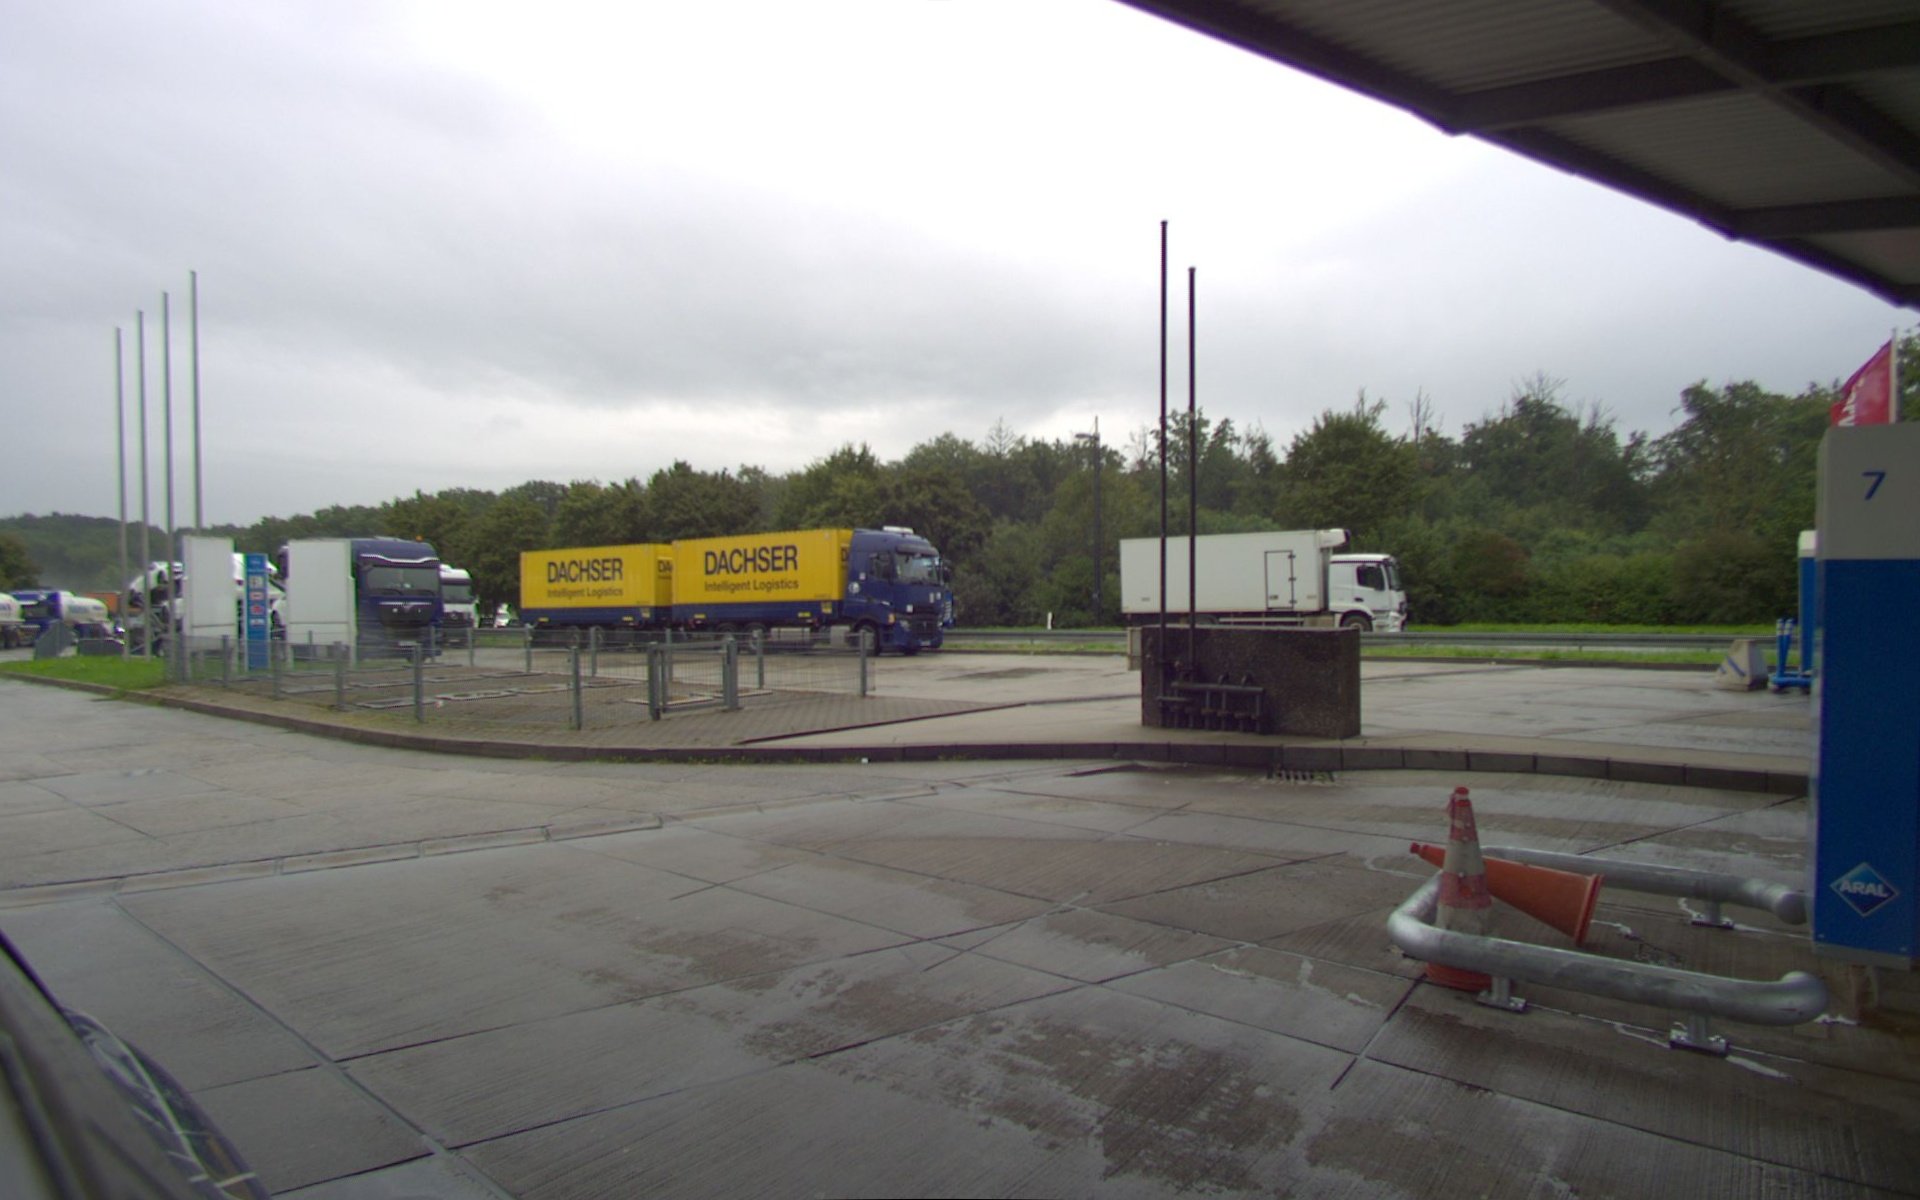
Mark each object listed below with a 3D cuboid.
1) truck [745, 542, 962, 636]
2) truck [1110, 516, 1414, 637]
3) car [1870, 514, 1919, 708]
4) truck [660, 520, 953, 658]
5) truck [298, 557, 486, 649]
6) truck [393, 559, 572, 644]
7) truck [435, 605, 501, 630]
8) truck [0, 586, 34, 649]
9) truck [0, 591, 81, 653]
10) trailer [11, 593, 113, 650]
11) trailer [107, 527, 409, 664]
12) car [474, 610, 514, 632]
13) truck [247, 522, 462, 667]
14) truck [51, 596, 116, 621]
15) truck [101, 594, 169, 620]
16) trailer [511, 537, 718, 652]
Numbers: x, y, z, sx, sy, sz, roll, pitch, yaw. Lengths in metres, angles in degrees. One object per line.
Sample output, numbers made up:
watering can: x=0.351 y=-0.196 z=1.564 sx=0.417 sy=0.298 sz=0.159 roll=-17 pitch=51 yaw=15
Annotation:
truck: x=-5.157 y=-0.434 z=47.699 sx=10.433 sy=4.063 sz=2.961 roll=-1 pitch=0 yaw=30
truck: x=11.058 y=-0.737 z=37.709 sx=10.433 sy=4.063 sz=2.961 roll=-1 pitch=0 yaw=30
car: x=14.867 y=0.112 z=12.398 sx=5.272 sy=2.482 sz=2.298 roll=-1 pitch=-2 yaw=37
truck: x=-5.405 y=-0.272 z=33.964 sx=10.608 sy=4.063 sz=2.743 roll=-1 pitch=0 yaw=33
truck: x=-27.317 y=0.173 z=48.452 sx=10.433 sy=4.063 sz=2.961 roll=-1 pitch=0 yaw=30
truck: x=-24.796 y=0.139 z=52.281 sx=10.433 sy=4.063 sz=2.961 roll=-1 pitch=0 yaw=30
truck: x=-48.164 y=1.704 z=99.044 sx=6.158 sy=2.321 sz=3.101 roll=-1 pitch=-1 yaw=33
truck: x=-55.574 y=1.014 z=55.019 sx=3.196 sy=3.591 sz=12.013 roll=-1 pitch=0 yaw=-19
truck: x=-59.441 y=1.366 z=64.998 sx=3.000 sy=3.795 sz=6.486 roll=-1 pitch=0 yaw=-27
trailer: x=-62.288 y=1.429 z=70.485 sx=2.854 sy=3.666 sz=10.605 roll=-1 pitch=0 yaw=-28
trailer: x=-25.432 y=-0.059 z=35.931 sx=16.563 sy=4.063 sz=2.957 roll=-1 pitch=0 yaw=34
car: x=-50.361 y=2.267 z=109.342 sx=4.493 sy=2.309 sz=1.754 roll=-1 pitch=-1 yaw=33
truck: x=-19.007 y=-0.116 z=31.628 sx=7.244 sy=4.063 sz=2.957 roll=-1 pitch=0 yaw=34
truck: x=-133.364 y=1.298 z=153.824 sx=16.515 sy=3.591 sz=3.215 roll=-1 pitch=0 yaw=34
truck: x=-116.109 y=0.976 z=142.262 sx=14.626 sy=3.591 sz=3.214 roll=0 pitch=-1 yaw=34
trailer: x=-13.561 y=-0.168 z=39.296 sx=8.833 sy=4.063 sz=2.743 roll=-1 pitch=0 yaw=33
